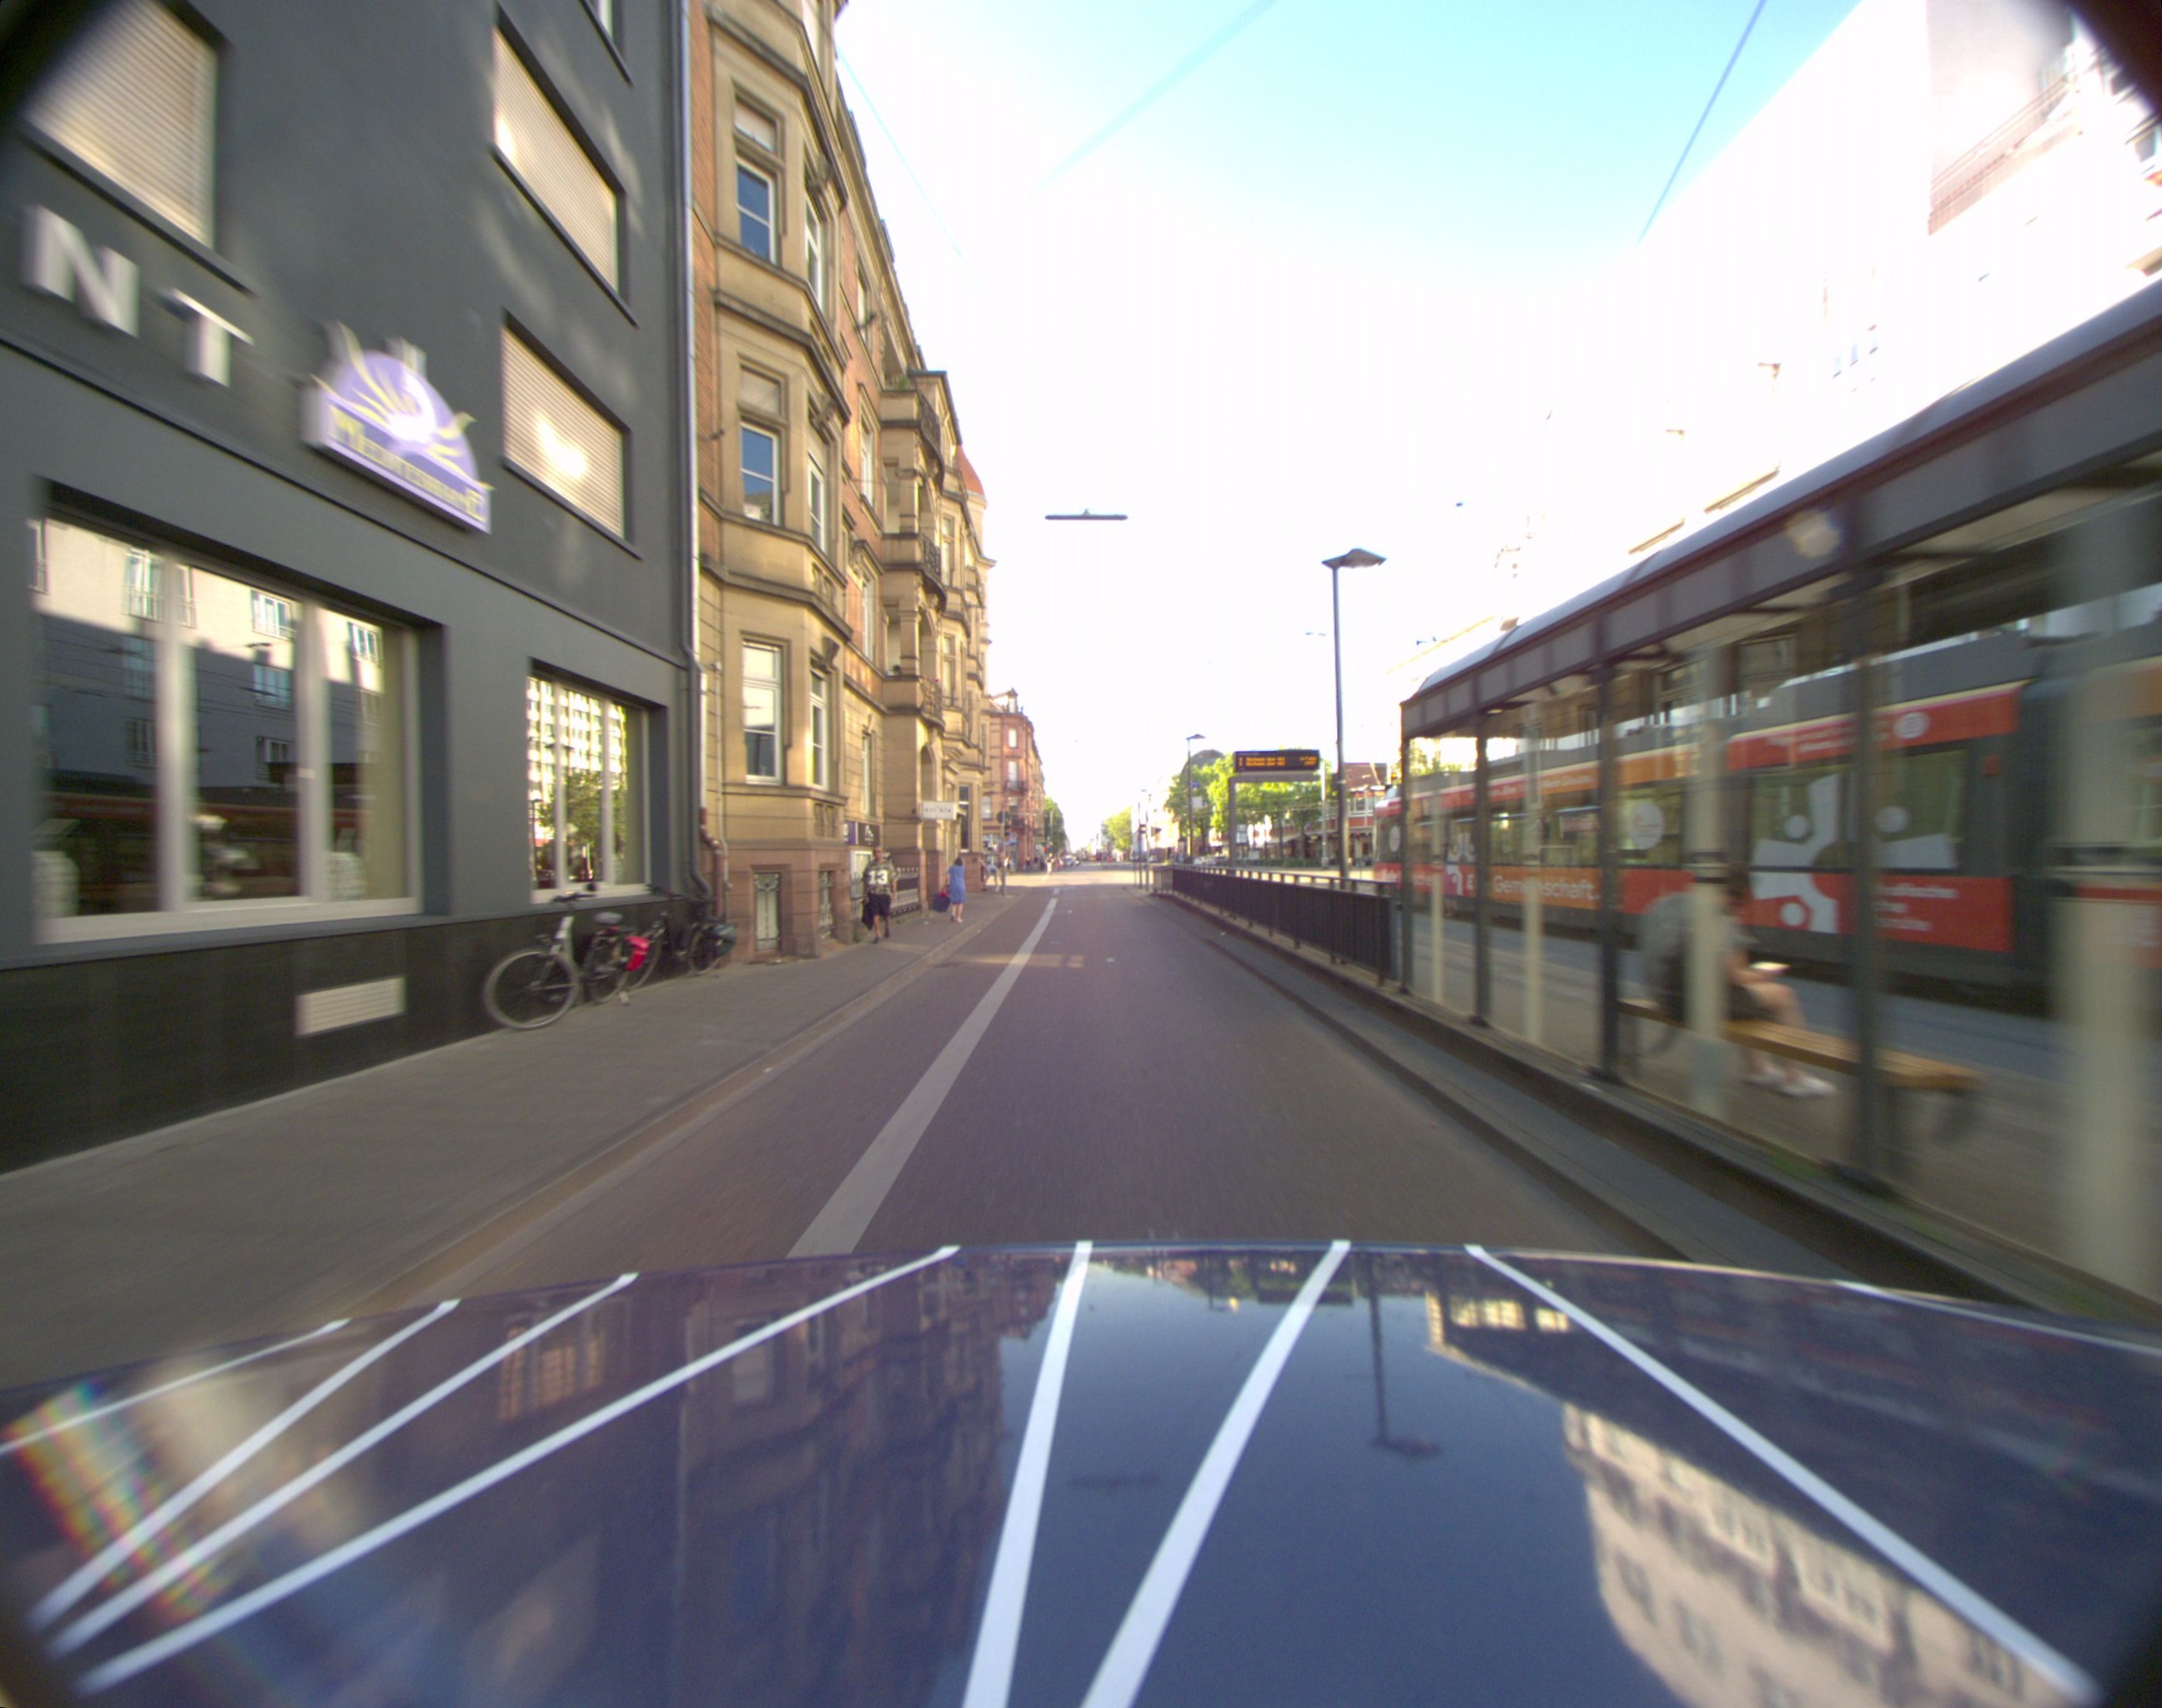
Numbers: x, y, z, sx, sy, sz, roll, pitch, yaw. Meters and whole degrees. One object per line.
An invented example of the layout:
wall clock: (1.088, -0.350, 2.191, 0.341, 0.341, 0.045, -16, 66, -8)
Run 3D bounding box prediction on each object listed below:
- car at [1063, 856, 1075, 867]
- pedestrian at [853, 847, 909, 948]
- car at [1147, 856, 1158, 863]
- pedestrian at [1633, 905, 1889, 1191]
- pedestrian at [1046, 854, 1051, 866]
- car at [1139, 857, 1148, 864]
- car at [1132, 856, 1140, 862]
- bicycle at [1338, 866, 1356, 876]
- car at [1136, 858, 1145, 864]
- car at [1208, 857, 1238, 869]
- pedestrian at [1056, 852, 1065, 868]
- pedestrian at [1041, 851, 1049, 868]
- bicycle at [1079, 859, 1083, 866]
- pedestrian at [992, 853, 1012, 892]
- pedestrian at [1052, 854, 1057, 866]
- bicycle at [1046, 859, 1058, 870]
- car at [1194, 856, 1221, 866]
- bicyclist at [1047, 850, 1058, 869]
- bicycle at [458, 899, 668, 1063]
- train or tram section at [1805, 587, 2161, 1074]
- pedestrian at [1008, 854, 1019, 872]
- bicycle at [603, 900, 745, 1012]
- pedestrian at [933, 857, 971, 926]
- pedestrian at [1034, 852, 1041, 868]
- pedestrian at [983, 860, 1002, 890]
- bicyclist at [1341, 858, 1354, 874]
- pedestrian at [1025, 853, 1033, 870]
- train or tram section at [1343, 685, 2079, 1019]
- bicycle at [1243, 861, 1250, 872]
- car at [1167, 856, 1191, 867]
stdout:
car: (-1.932, 1.177, 124.719, 1.670, 1.674, 4.001, -1, 0, 3)
pedestrian: (-3.683, 0.788, 14.043, 0.803, 1.813, 0.797, 1, 0, -1)
car: (16.569, 1.332, 176.932, 1.910, 1.594, 3.999, -2, 0, -2)
pedestrian: (3.056, 0.837, 3.466, 0.686, 1.169, 0.537, -1, 0, 1)
pedestrian: (-4.747, 0.897, 109.877, 0.701, 1.713, 0.681, 1, 1, 1)
car: (16.806, 1.767, 204.313, 1.965, 1.594, 3.999, -2, 0, -2)
car: (16.589, 1.519, 229.768, 1.965, 1.594, 3.999, -2, 0, -2)
bicycle: (25.525, 1.648, 72.886, 0.843, 0.921, 2.265, -1, 0, -1)
car: (16.580, 1.846, 210.594, 1.965, 1.594, 3.999, -2, 0, -2)
car: (20.404, 1.227, 109.273, 4.006, 1.545, 1.793, -2, 1, -31)
pedestrian: (-2.063, 0.589, 76.655, 0.849, 1.651, 0.850, -1, 1, 3)
pedestrian: (-3.997, 0.604, 84.199, 0.824, 1.883, 0.754, 1, 1, 0)
bicycle: (0.014, 1.391, 124.070, 0.646, 1.176, 1.804, -1, 0, -3)
pedestrian: (-3.525, 0.810, 33.904, 0.796, 1.711, 0.719, 1, 2, -2)
pedestrian: (-3.866, 0.864, 109.532, 0.701, 1.713, 0.502, 1, 1, 1)
bicycle: (-2.484, 0.911, 65.977, 0.886, 0.949, 1.766, -1, 0, 3)
car: (20.061, 1.132, 120.305, 4.006, 1.466, 1.793, -2, 1, -31)
bicyclist: (-2.476, 0.507, 65.982, 0.886, 1.650, 0.803, -1, 1, 3)
bicycle: (-4.625, 1.065, 6.980, 0.625, 1.191, 1.907, 2, 0, -1)
train or tram section: (9.148, -0.157, 0.588, 2.892, 3.470, 14.948, -2, 1, 0)
pedestrian: (-6.709, 0.884, 75.604, 1.026, 1.796, 1.083, -1, 0, -3)
bicycle: (-4.674, 1.123, 8.875, 0.592, 1.064, 1.804, 2, 0, 2)
pedestrian: (-3.118, 0.888, 18.412, 0.764, 1.635, 0.832, 1, 0, -1)
pedestrian: (-4.833, 0.640, 84.577, 0.777, 1.713, 0.754, 1, 1, 0)
pedestrian: (-4.031, 0.935, 34.665, 0.796, 1.324, 0.719, 1, 2, -2)
bicyclist: (25.525, 1.163, 72.778, 0.843, 1.458, 0.896, -1, 0, -1)
pedestrian: (-5.293, 0.729, 77.794, 0.777, 1.713, 0.754, 1, 1, 0)
train or tram section: (9.174, -0.080, 15.172, 2.892, 3.470, 14.165, -2, 1, 0)
bicycle: (18.544, 1.383, 85.130, 0.582, 1.227, 1.857, -2, 0, 5)
car: (17.966, 1.351, 139.127, 4.007, 1.952, 1.907, -2, 1, -35)
